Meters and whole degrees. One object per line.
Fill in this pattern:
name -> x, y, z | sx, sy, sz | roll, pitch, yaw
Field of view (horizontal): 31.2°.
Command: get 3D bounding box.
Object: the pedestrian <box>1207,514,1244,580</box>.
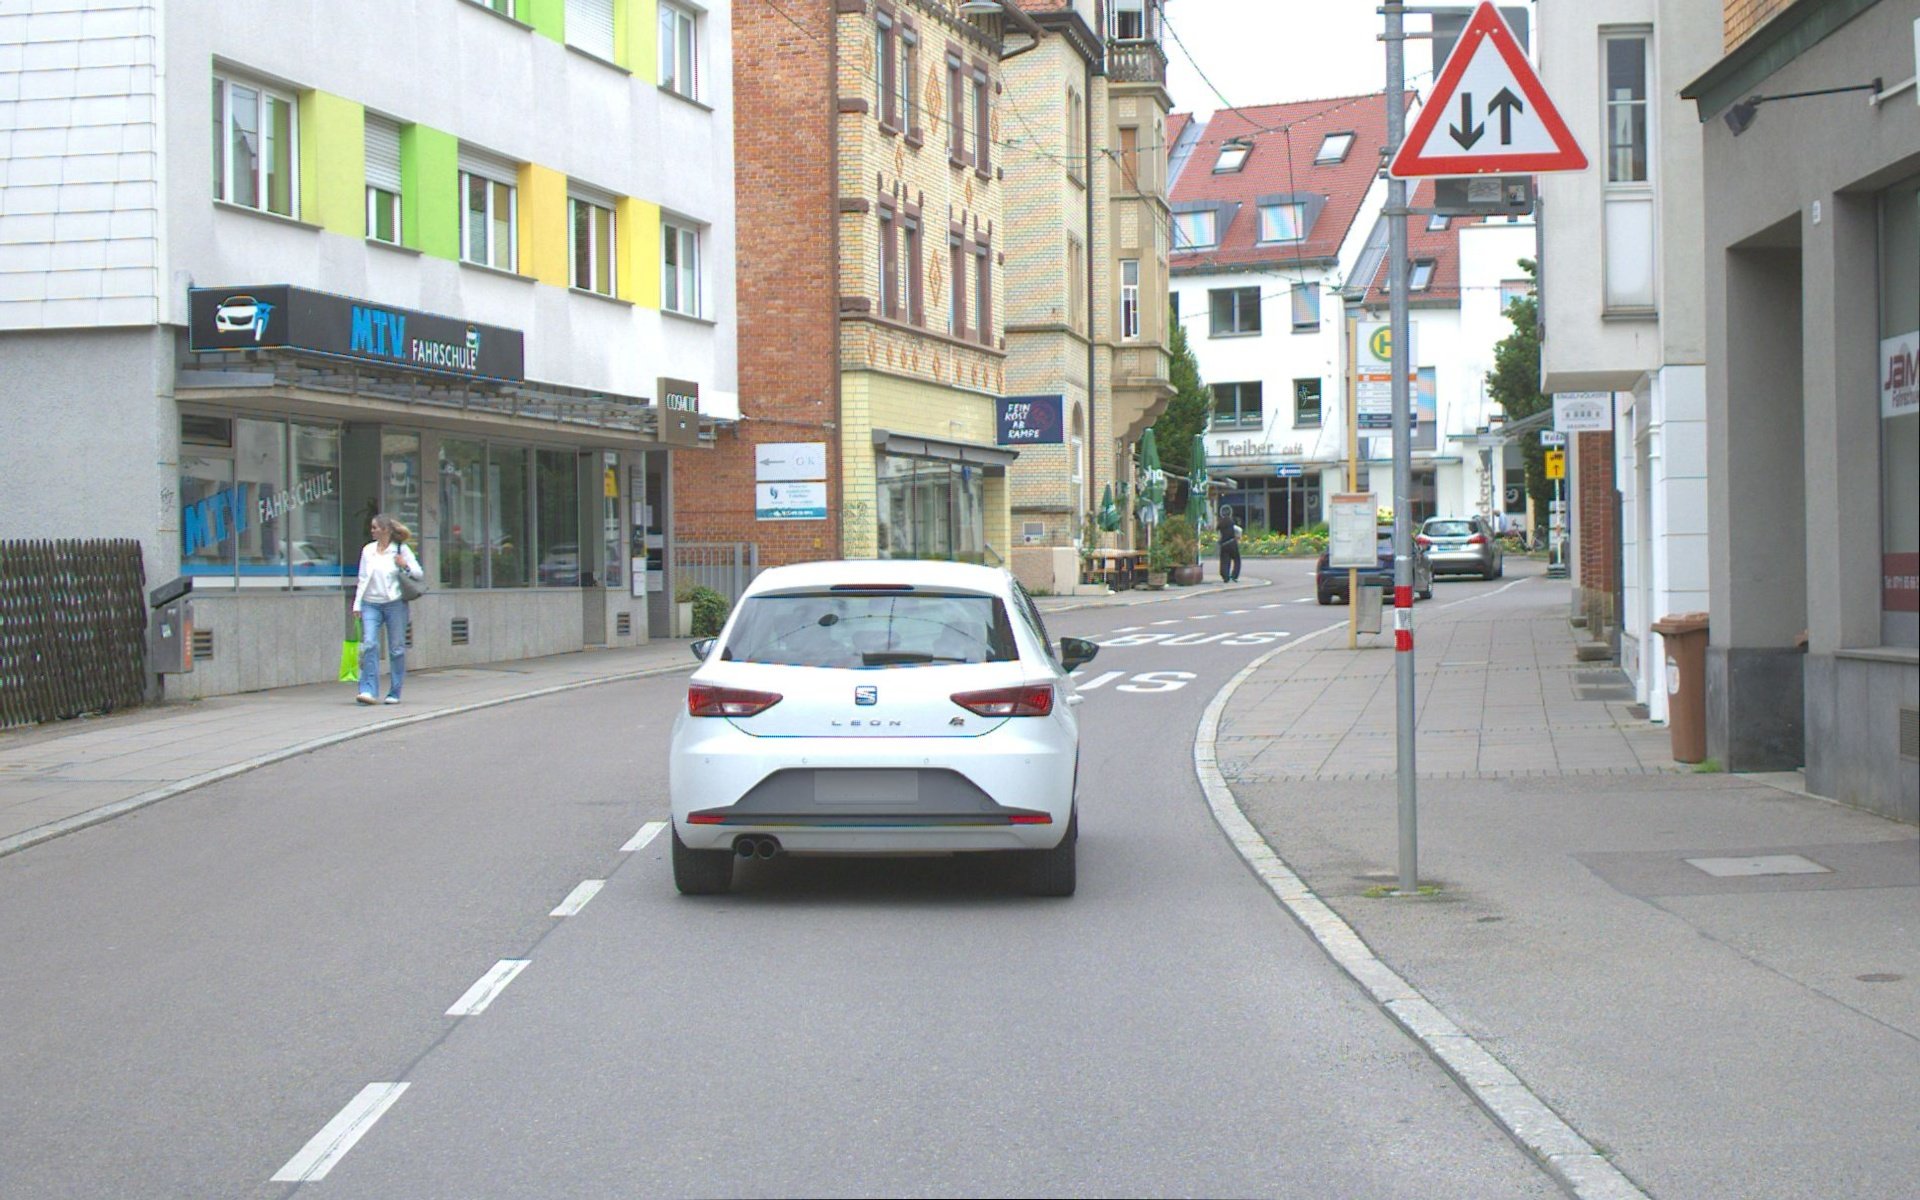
pedestrian -> 6.317, -1.258, 81.870 | 0.834, 1.546, 0.627 | -1, 1, 7

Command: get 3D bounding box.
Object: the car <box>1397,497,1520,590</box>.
car -> 11.164, -1.285, 76.823 | 1.995, 2.007, 3.997 | 0, 1, 19

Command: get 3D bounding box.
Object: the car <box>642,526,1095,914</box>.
car -> -0.344, 0.446, 15.871 | 1.811, 1.475, 3.871 | -1, 2, 1

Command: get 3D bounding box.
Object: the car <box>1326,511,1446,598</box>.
car -> 7.950, -0.863, 63.900 | 1.812, 1.475, 3.868 | 0, 2, 13

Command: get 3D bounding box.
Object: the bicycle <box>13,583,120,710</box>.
bicycle -> -7.845, 0.392, 30.233 | 0.323, 1.050, 1.748 | -1, 1, 5

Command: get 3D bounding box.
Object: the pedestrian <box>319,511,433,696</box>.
pedestrian -> -5.341, 0.024, 31.483 | 0.892, 1.659, 0.861 | -1, 1, -2

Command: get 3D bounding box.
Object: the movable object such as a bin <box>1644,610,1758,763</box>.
movable object such as a bin -> 4.617, 0.533, 21.452 | 0.619, 0.918, 0.581 | -1, 1, 5
